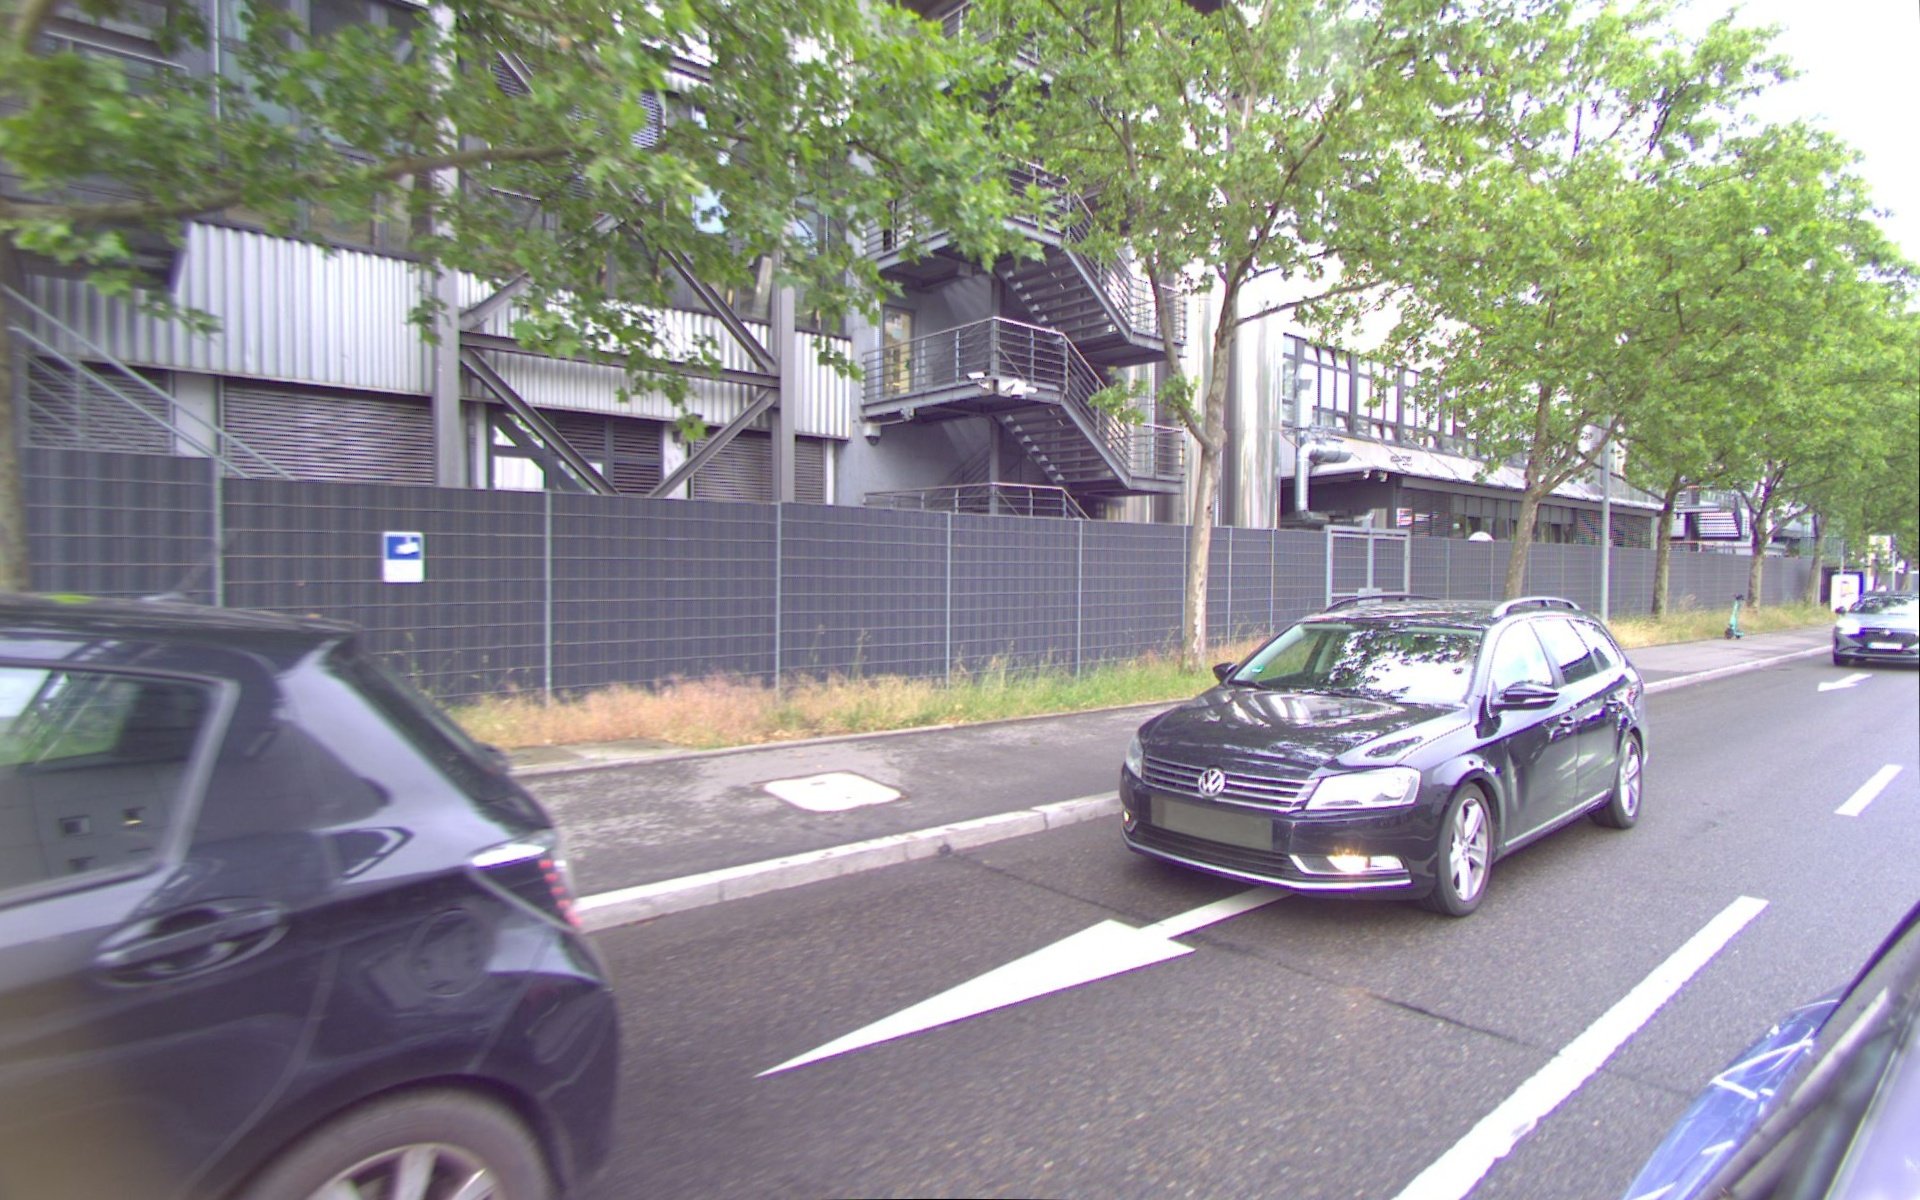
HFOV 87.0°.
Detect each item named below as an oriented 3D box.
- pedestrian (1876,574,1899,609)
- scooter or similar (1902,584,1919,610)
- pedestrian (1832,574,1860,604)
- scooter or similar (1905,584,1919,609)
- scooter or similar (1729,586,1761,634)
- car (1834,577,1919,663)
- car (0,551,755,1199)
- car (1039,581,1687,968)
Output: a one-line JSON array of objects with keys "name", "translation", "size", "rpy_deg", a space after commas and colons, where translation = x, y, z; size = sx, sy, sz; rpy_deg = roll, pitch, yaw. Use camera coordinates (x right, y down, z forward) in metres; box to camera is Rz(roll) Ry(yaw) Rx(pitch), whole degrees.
[{"name": "pedestrian", "translation": [46.635, -0.435, 50.874], "size": [0.717, 1.731, 0.777], "rpy_deg": [-1, 2, -42]}, {"name": "scooter or similar", "translation": [49.778, -0.169, 52.993], "size": [1.277, 1.311, 0.437], "rpy_deg": [-1, 2, -39]}, {"name": "pedestrian", "translation": [43.049, -0.562, 49.194], "size": [0.686, 1.433, 0.932], "rpy_deg": [-1, 2, -42]}, {"name": "scooter or similar", "translation": [51.272, -0.196, 54.462], "size": [1.277, 1.311, 0.437], "rpy_deg": [-1, 2, -39]}, {"name": "scooter or similar", "translation": [21.545, 0.257, 27.758], "size": [1.087, 1.285, 0.330], "rpy_deg": [0, 2, -33]}, {"name": "car", "translation": [20.106, 0.378, 21.434], "size": [4.005, 1.639, 1.949], "rpy_deg": [-1, 3, -43]}, {"name": "car", "translation": [-2.519, 0.676, 1.421], "size": [4.010, 1.512, 1.877], "rpy_deg": [-1, 3, -45]}, {"name": "car", "translation": [2.742, 0.632, 6.138], "size": [4.705, 1.471, 1.840], "rpy_deg": [-1, 1, -43]}]
